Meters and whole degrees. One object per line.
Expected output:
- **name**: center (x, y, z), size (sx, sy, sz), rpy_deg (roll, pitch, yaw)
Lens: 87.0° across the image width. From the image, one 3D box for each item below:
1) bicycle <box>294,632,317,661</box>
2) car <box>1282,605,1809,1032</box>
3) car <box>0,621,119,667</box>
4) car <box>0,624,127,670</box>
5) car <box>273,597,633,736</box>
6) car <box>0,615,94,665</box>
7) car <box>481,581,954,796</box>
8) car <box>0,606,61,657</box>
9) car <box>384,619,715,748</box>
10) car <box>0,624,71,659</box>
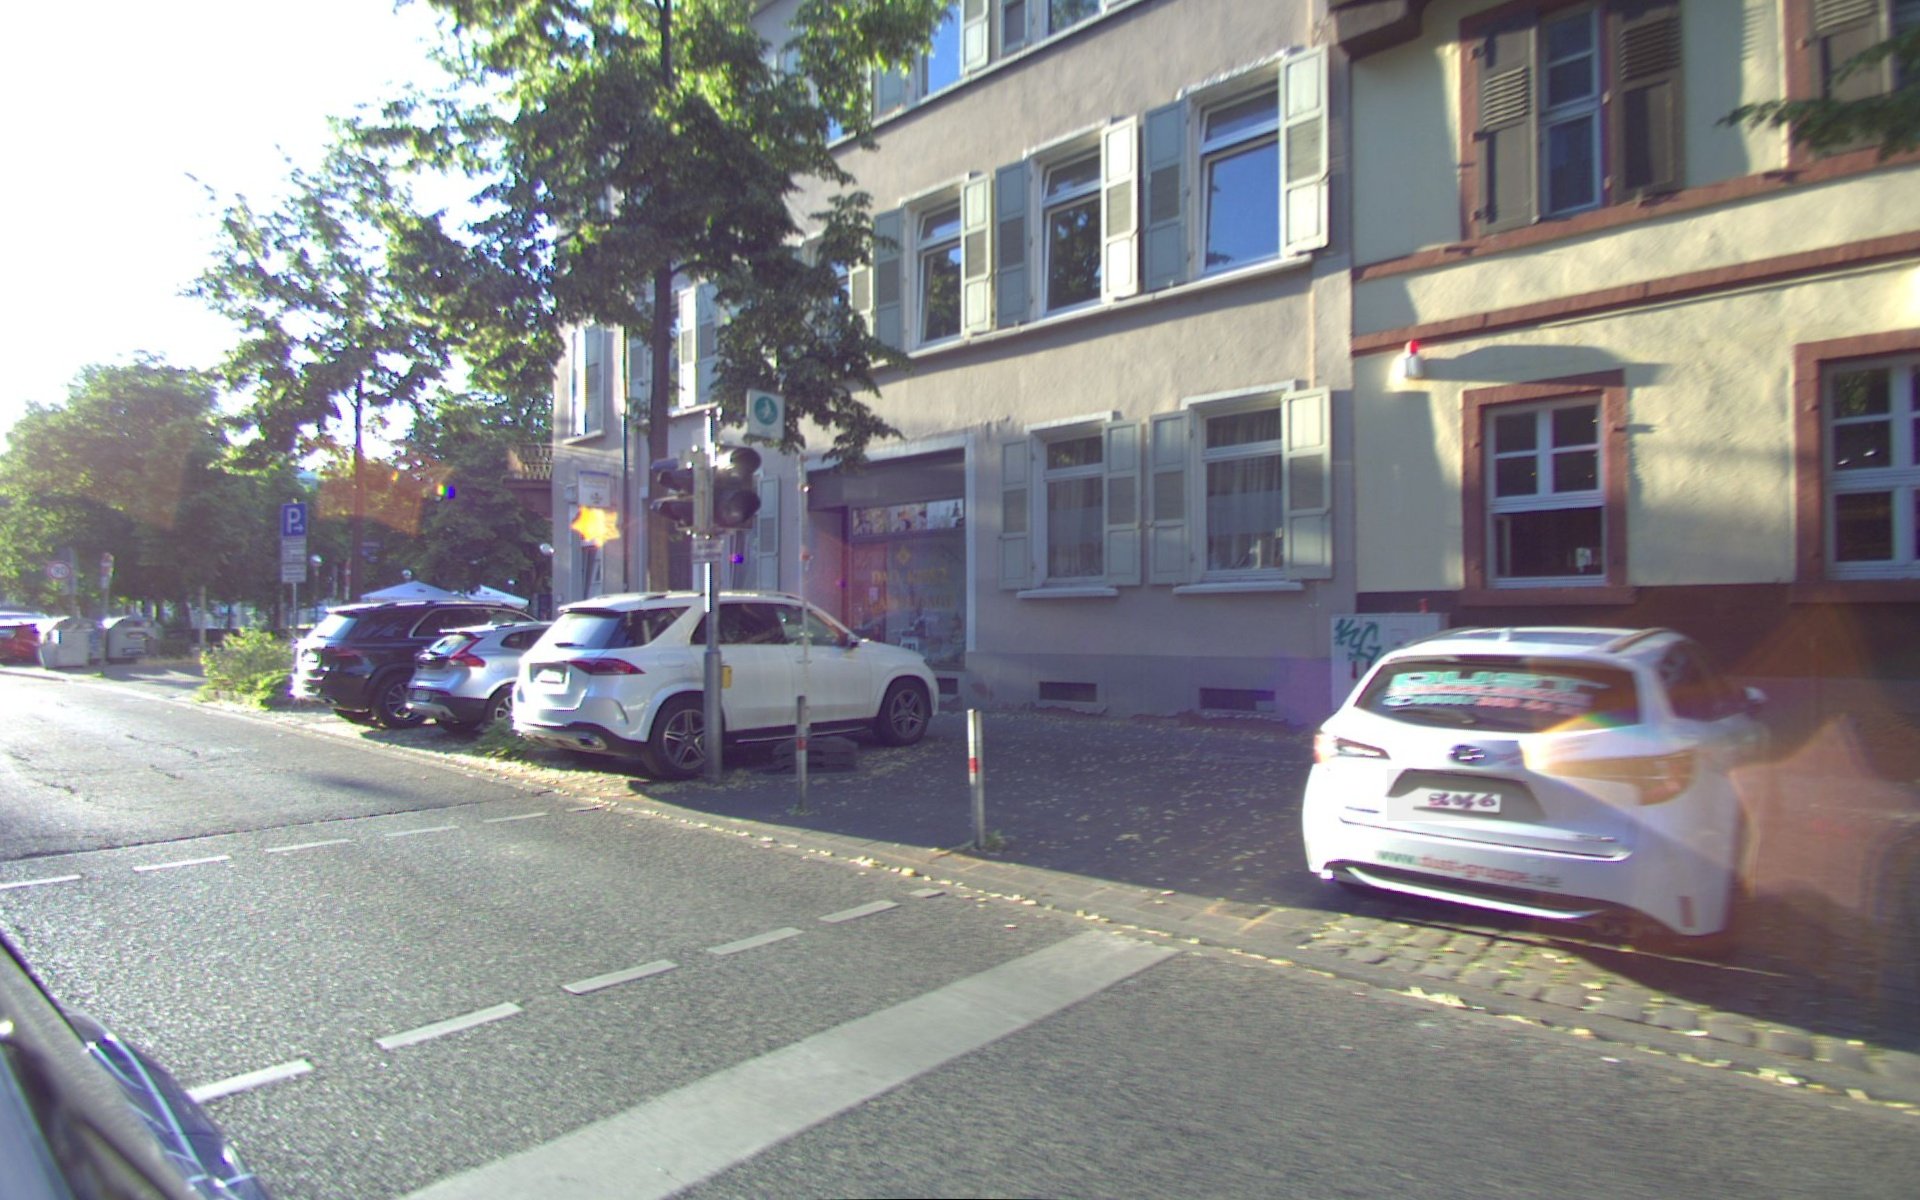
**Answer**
- **bicycle**: center (-24.438, 1.736, 37.810), size (0.573, 1.041, 1.861), rpy_deg (0, -3, -28)
- **car**: center (3.603, 0.785, 5.758), size (1.821, 1.434, 4.337), rpy_deg (-2, -1, 40)
- **car**: center (-35.566, 1.674, 39.273), size (1.876, 1.645, 4.566), rpy_deg (0, -2, 3)
- **car**: center (-33.117, 1.658, 36.777), size (1.790, 1.569, 4.566), rpy_deg (0, -2, 3)
- **car**: center (-7.533, 0.905, 15.434), size (1.945, 1.796, 4.509), rpy_deg (-1, -1, 40)
- **car**: center (-38.217, 1.603, 41.208), size (1.876, 1.948, 4.566), rpy_deg (0, -2, 3)
- **car**: center (-2.393, 0.759, 11.002), size (2.052, 1.825, 4.657), rpy_deg (-2, -1, 42)
- **car**: center (-45.949, 1.486, 47.857), size (2.136, 2.376, 4.755), rpy_deg (-1, -2, 13)
- **car**: center (-5.453, 1.017, 13.758), size (1.820, 1.472, 3.775), rpy_deg (-2, -2, 42)
- **car**: center (-43.516, 1.871, 45.805), size (2.114, 1.594, 4.553), rpy_deg (-1, -2, 12)
